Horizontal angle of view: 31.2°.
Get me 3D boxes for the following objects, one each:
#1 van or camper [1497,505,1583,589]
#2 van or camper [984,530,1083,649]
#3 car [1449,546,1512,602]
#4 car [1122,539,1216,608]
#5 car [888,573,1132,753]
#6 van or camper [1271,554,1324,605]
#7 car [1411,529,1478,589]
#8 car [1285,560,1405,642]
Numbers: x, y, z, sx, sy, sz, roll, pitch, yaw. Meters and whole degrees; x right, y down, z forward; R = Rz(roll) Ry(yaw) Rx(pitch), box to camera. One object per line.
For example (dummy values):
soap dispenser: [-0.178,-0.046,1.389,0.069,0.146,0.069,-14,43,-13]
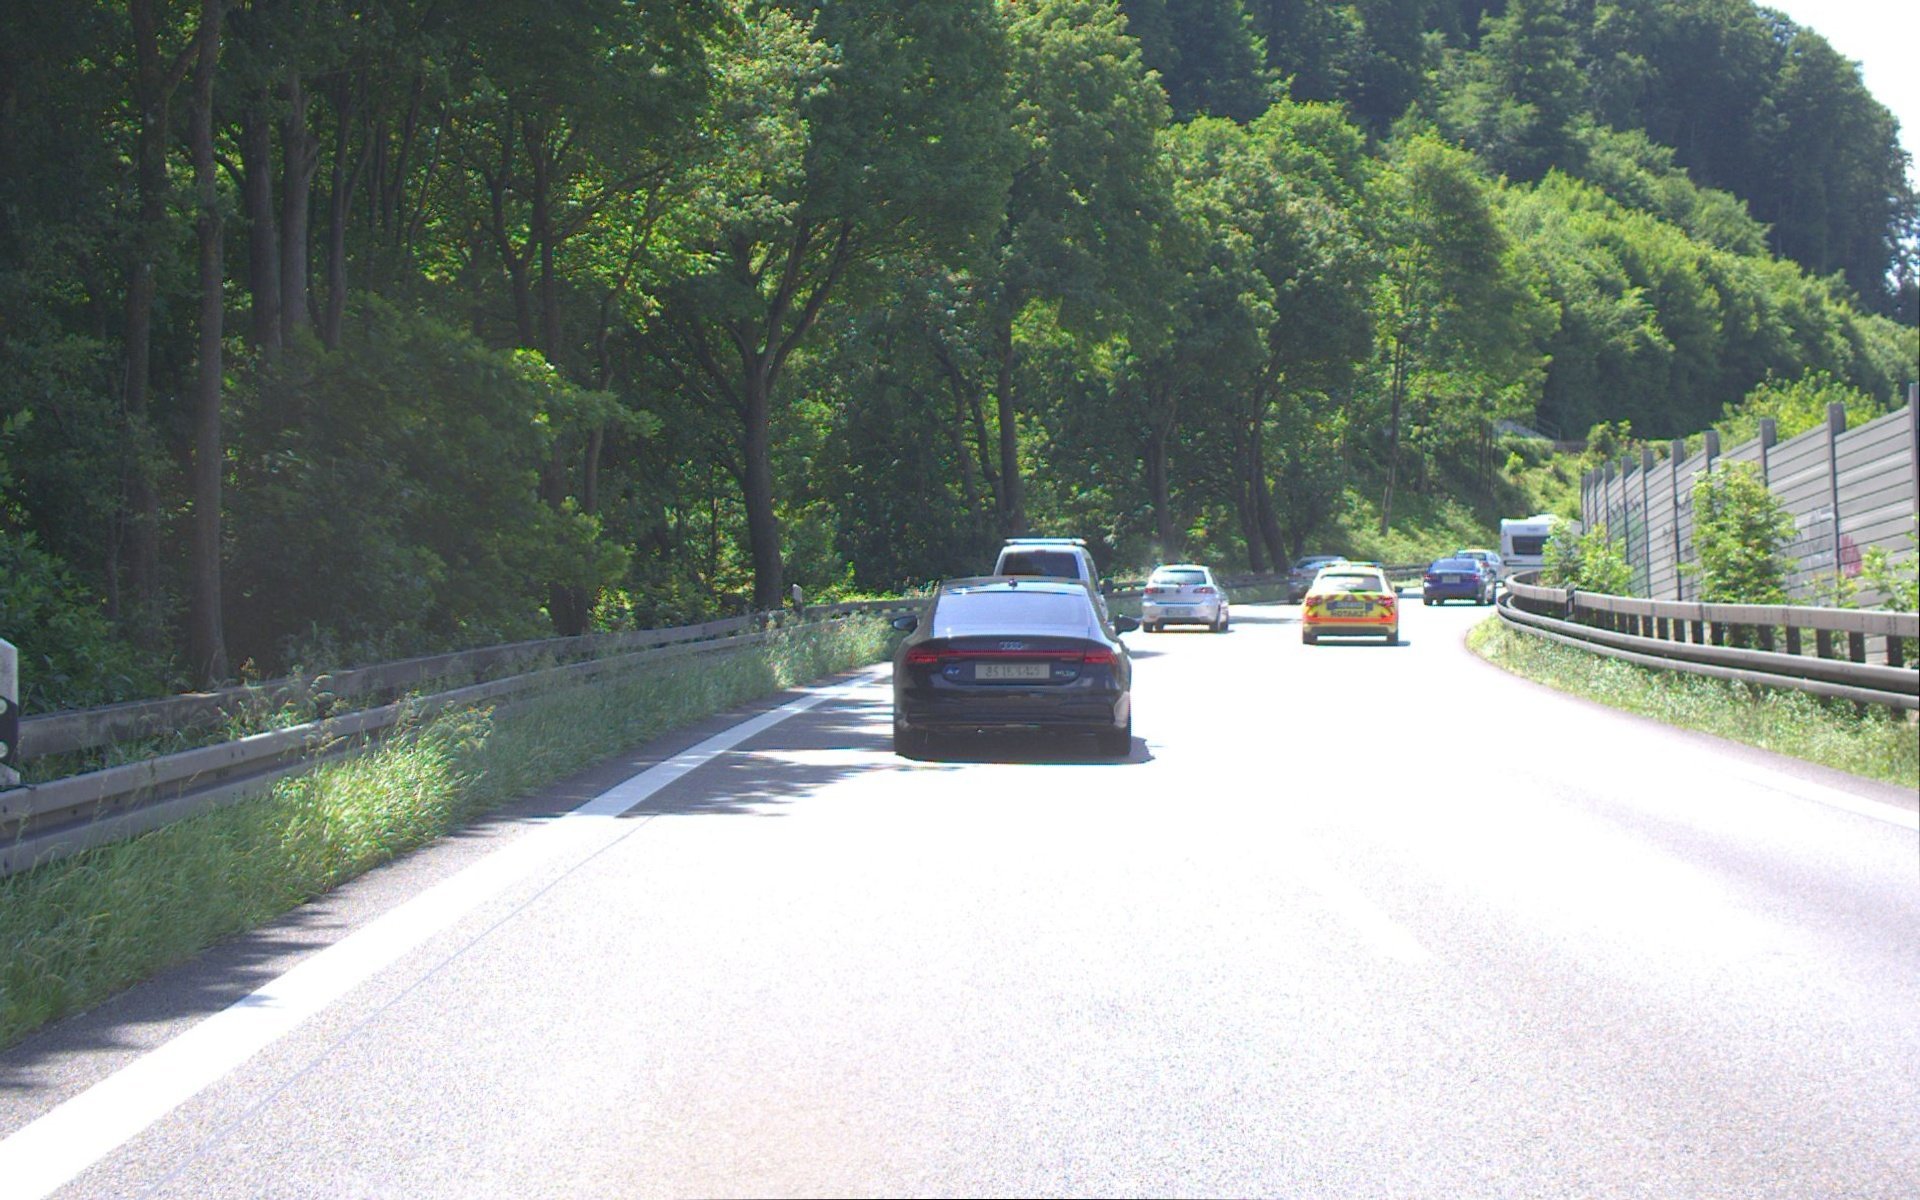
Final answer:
van or camper: [21.034,-1.886,124.488,2.457,2.908,6.121,-1,0,15]
van or camper: [1.145,-0.168,54.781,1.391,1.809,4.000,-1,0,-1]
car: [20.300,-0.996,133.882,1.995,2.007,3.997,-3,-2,14]
car: [4.482,-0.571,74.211,1.747,1.426,4.000,-1,0,0]
car: [0.349,0.474,28.121,1.837,1.345,4.000,-1,0,-1]
van or camper: [10.543,-0.633,107.229,1.558,1.529,3.504,-1,0,6]
car: [14.805,-1.244,105.196,1.773,1.631,3.999,-2,-2,5]
car: [7.294,0.015,65.485,1.863,1.483,4.000,-1,0,1]
